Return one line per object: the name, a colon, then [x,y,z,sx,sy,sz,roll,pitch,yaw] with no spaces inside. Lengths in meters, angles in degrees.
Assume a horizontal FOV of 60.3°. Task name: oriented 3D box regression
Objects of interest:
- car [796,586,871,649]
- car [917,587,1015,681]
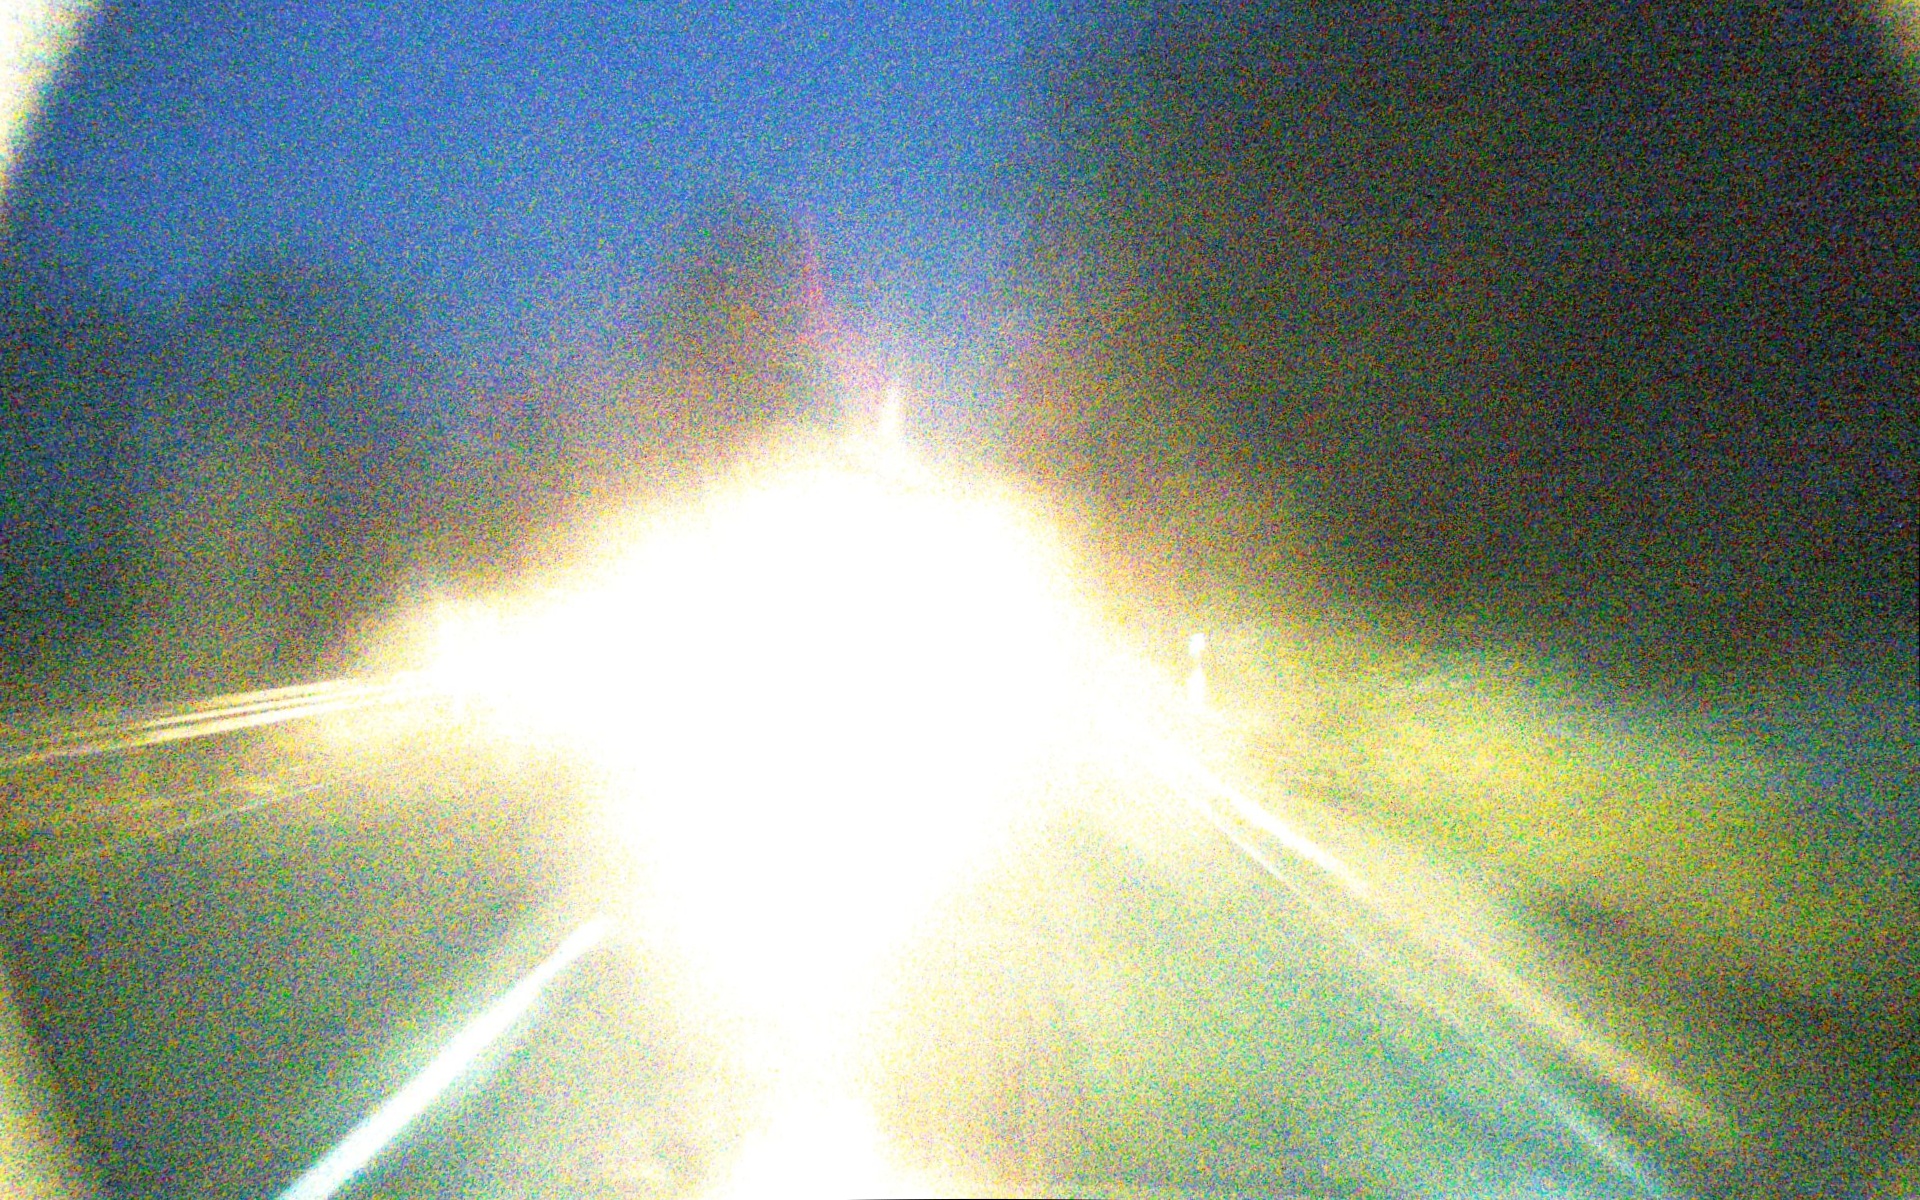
car: [-3.723,0.480,49.242,1.763,1.607,4.457,-5,1,0]
car: [0.080,0.704,37.223,1.954,1.838,3.916,-2,2,-3]
